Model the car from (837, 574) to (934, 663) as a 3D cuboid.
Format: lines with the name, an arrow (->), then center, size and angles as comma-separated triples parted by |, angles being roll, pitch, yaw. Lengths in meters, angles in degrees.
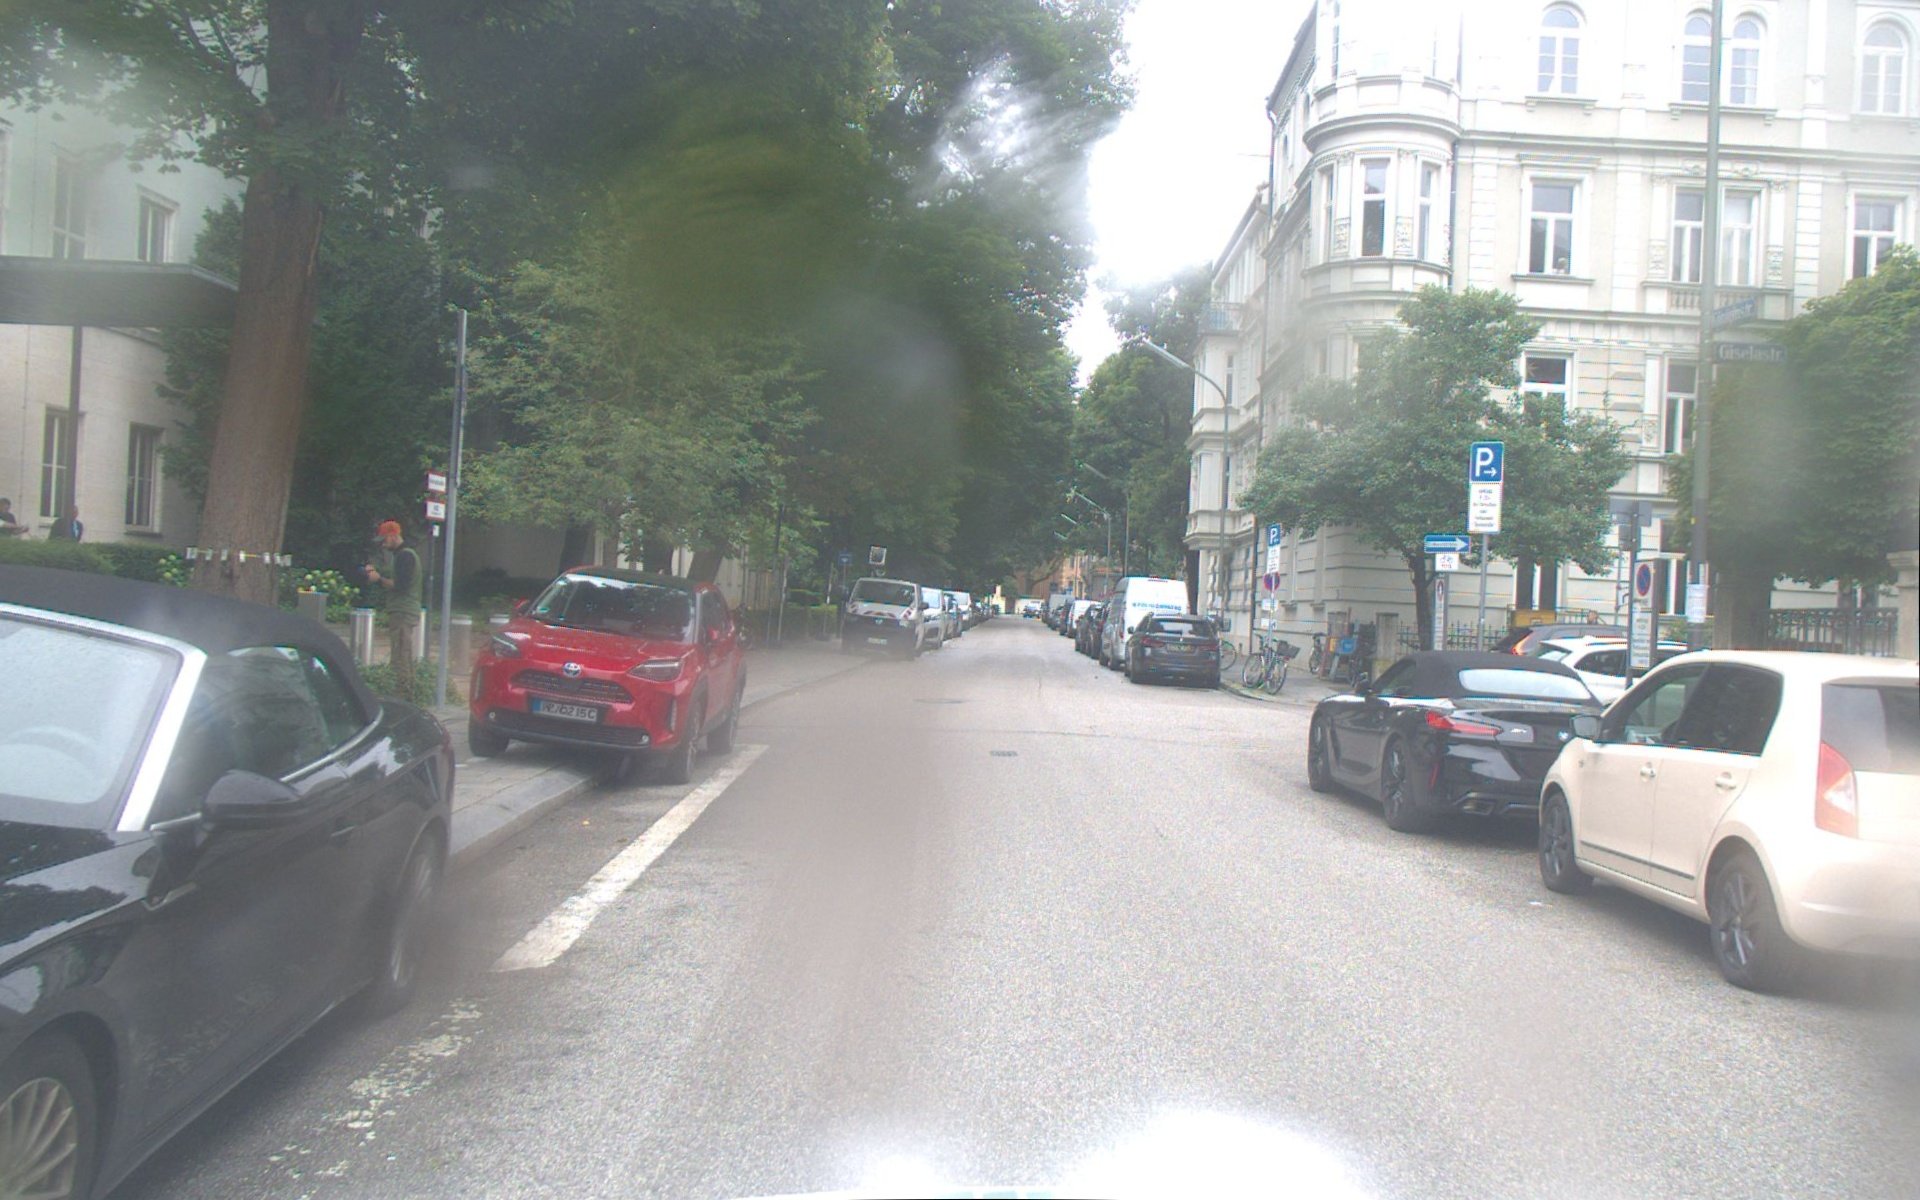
car -> -1.840, 0.456, 42.462 | 2.202, 1.990, 5.452 | 4, 0, -1

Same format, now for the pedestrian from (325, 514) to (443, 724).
pedestrian -> -5.408, 0.176, 15.568 | 0.698, 1.884, 0.797 | 4, -1, 0

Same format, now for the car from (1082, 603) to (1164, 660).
car -> 5.000, 0.953, 51.303 | 2.094, 1.658, 4.315 | 1, -1, 0

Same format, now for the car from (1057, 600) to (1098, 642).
car -> 6.055, 1.065, 85.502 | 1.952, 2.010, 4.002 | 2, 0, 3

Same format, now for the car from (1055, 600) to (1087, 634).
car -> 7.013, 1.070, 104.677 | 1.952, 2.049, 4.002 | 2, 0, 3

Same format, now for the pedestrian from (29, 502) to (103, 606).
pedestrian -> -15.854, -0.802, 29.350 | 0.735, 1.783, 0.900 | 3, -1, -3

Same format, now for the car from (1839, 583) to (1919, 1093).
car -> 4.311, 0.886, 3.870 | 1.953, 1.736, 4.533 | 5, 0, -1

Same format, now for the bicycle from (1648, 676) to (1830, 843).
bicycle -> 5.949, 1.177, 12.747 | 0.649, 1.082, 1.940 | 2, 0, 6

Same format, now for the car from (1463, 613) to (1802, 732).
car -> 11.273, 1.239, 27.936 | 4.935, 1.681, 1.943 | 3, -4, -1

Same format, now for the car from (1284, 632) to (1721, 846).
car -> 4.085, 0.978, 13.365 | 1.959, 1.342, 4.594 | 0, 0, -1

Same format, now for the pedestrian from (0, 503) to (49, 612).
pedestrian -> -16.072, -0.718, 27.994 | 0.735, 1.783, 0.900 | 3, -1, -3

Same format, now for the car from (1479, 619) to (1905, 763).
car -> 9.674, 1.182, 22.133 | 4.807, 1.558, 1.913 | 2, 2, -1

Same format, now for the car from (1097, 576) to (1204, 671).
car -> 4.813, 0.603, 42.463 | 2.158, 2.247, 4.854 | 1, -1, 0

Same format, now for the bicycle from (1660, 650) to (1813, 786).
bicycle -> 7.816, 1.158, 16.729 | 0.531, 1.247, 1.774 | 2, -1, -6

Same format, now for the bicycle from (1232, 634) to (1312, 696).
bicycle -> 6.019, 1.234, 32.010 | 0.643, 1.046, 2.194 | 2, 1, -14

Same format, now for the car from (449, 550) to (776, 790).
car -> -2.774, 0.513, 14.292 | 1.849, 1.618, 4.526 | 4, 0, -1

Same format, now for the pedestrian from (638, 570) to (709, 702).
pedestrian -> -3.605, 0.448, 20.863 | 0.699, 1.575, 0.752 | 4, -1, -4

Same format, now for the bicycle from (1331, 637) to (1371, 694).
bicycle -> 8.076, 1.338, 34.206 | 0.421, 1.046, 1.891 | 2, 1, 3

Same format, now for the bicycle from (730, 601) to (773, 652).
bicycle -> -4.876, 0.615, 38.801 | 0.619, 1.122, 1.768 | 4, -1, 3

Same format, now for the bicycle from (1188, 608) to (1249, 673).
bicycle -> 6.535, 1.002, 41.929 | 0.696, 1.542, 2.030 | 2, 0, -15

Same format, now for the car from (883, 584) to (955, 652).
car -> -1.334, 0.573, 54.176 | 2.140, 1.990, 5.165 | 4, 0, -1

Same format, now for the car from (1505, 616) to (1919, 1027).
car -> 4.327, 0.984, 8.491 | 1.735, 1.572, 3.712 | 7, 0, 1

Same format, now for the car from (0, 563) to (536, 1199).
car -> -2.590, 0.642, 4.559 | 1.772, 1.426, 4.920 | 4, 0, -4

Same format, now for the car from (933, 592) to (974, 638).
car -> -0.299, 0.763, 87.173 | 1.961, 2.224, 4.696 | 4, 0, 1

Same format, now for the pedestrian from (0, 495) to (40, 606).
pedestrian -> -15.801, -0.813, 27.168 | 0.880, 1.783, 0.752 | 3, 0, -2

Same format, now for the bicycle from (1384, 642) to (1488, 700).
bicycle -> 9.450, 1.411, 32.860 | 1.882, 1.046, 0.557 | 2, 1, 4

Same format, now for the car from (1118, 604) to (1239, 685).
car -> 4.599, 0.926, 35.497 | 2.225, 1.573, 4.588 | 1, -1, 3

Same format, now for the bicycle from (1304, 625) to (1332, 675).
bicycle -> 8.161, 1.136, 37.761 | 0.534, 1.079, 1.752 | 2, 0, 10

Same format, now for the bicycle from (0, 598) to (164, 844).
bicycle -> -4.849, 0.577, 8.169 | 0.636, 1.150, 2.049 | 2, 0, 6

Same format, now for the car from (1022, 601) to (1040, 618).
car -> 8.015, 1.056, 186.221 | 1.952, 1.814, 4.002 | 2, 0, 3
